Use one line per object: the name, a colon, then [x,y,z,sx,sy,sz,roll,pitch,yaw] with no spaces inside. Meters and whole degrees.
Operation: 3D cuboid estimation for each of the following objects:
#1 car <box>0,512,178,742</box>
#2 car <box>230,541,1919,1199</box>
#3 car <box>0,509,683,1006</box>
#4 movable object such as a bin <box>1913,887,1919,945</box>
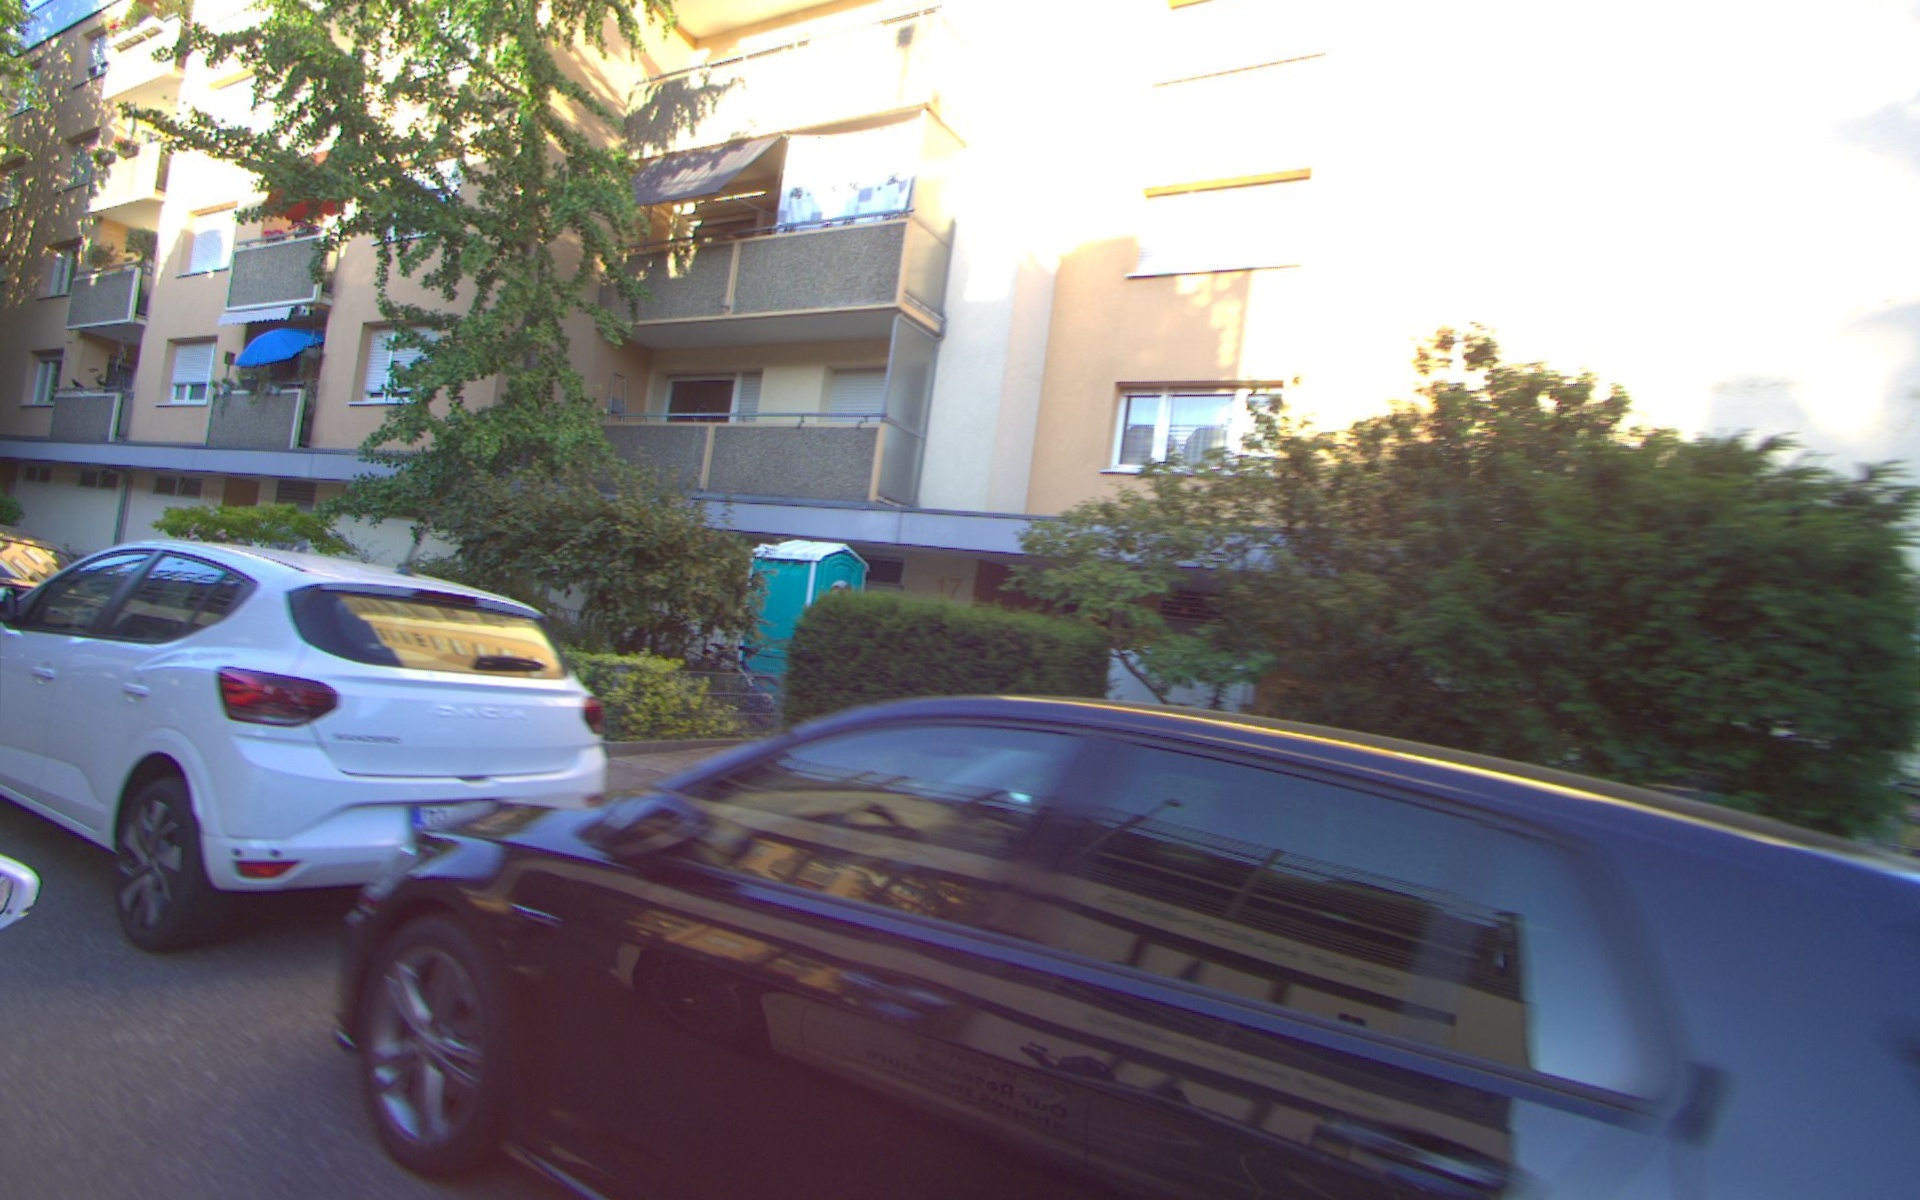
car: [-8.125,-0.037,7.661,4.548,1.433,1.814,7,-2,31]
car: [0.009,0.835,2.742,3.960,1.435,1.721,7,-2,31]
car: [-3.479,0.471,4.977,3.831,1.433,1.813,7,-2,32]
movable object such as a bin: [8.159,2.031,7.178,1.555,1.487,1.186,8,-1,27]
